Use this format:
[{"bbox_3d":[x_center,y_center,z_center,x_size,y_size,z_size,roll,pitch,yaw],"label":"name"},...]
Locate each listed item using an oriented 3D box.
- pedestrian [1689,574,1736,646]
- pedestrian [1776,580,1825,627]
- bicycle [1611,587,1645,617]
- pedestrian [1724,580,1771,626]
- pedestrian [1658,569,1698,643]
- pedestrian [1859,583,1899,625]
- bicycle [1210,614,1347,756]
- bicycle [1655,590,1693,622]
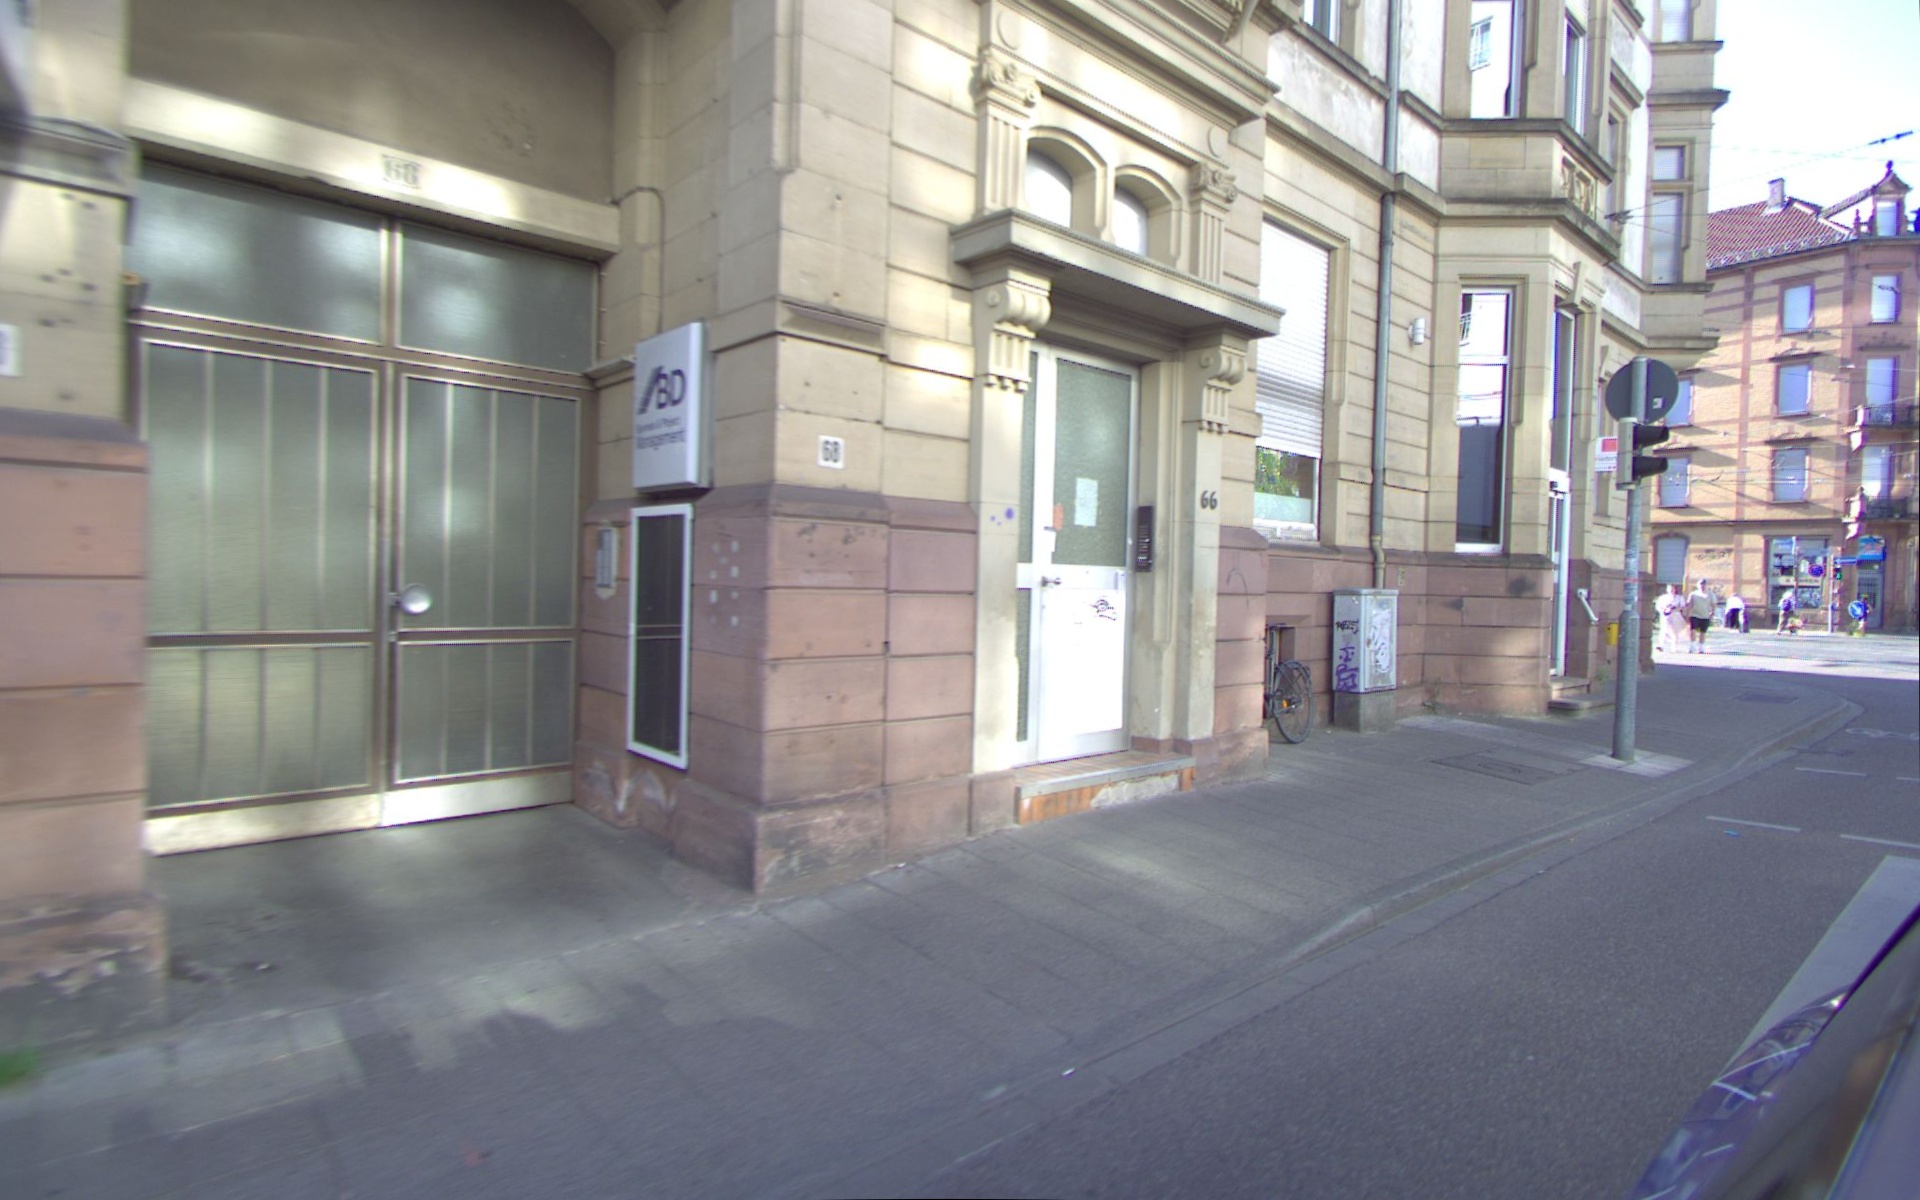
[{"bbox_3d":[17.986,0.222,24.192,0.620,1.674,0.703,-1,3,-36],"label":"pedestrian"},{"bbox_3d":[30.621,0.119,36.898,0.906,1.651,0.944,1,3,-10],"label":"pedestrian"},{"bbox_3d":[28.565,0.085,43.279,2.272,1.224,0.650,1,2,-43],"label":"bicycle"},{"bbox_3d":[29.762,0.098,38.253,0.908,1.651,1.010,1,3,0],"label":"pedestrian"},{"bbox_3d":[17.500,0.141,24.673,0.693,1.766,0.644,-1,2,-42],"label":"pedestrian"},{"bbox_3d":[35.507,0.146,39.117,0.922,1.556,0.636,1,3,-9],"label":"pedestrian"},{"bbox_3d":[2.763,0.681,8.683,1.738,1.065,0.256,-2,2,-41],"label":"bicycle"},{"bbox_3d":[29.148,0.255,41.300,2.272,1.224,0.752,1,2,-43],"label":"bicycle"}]
